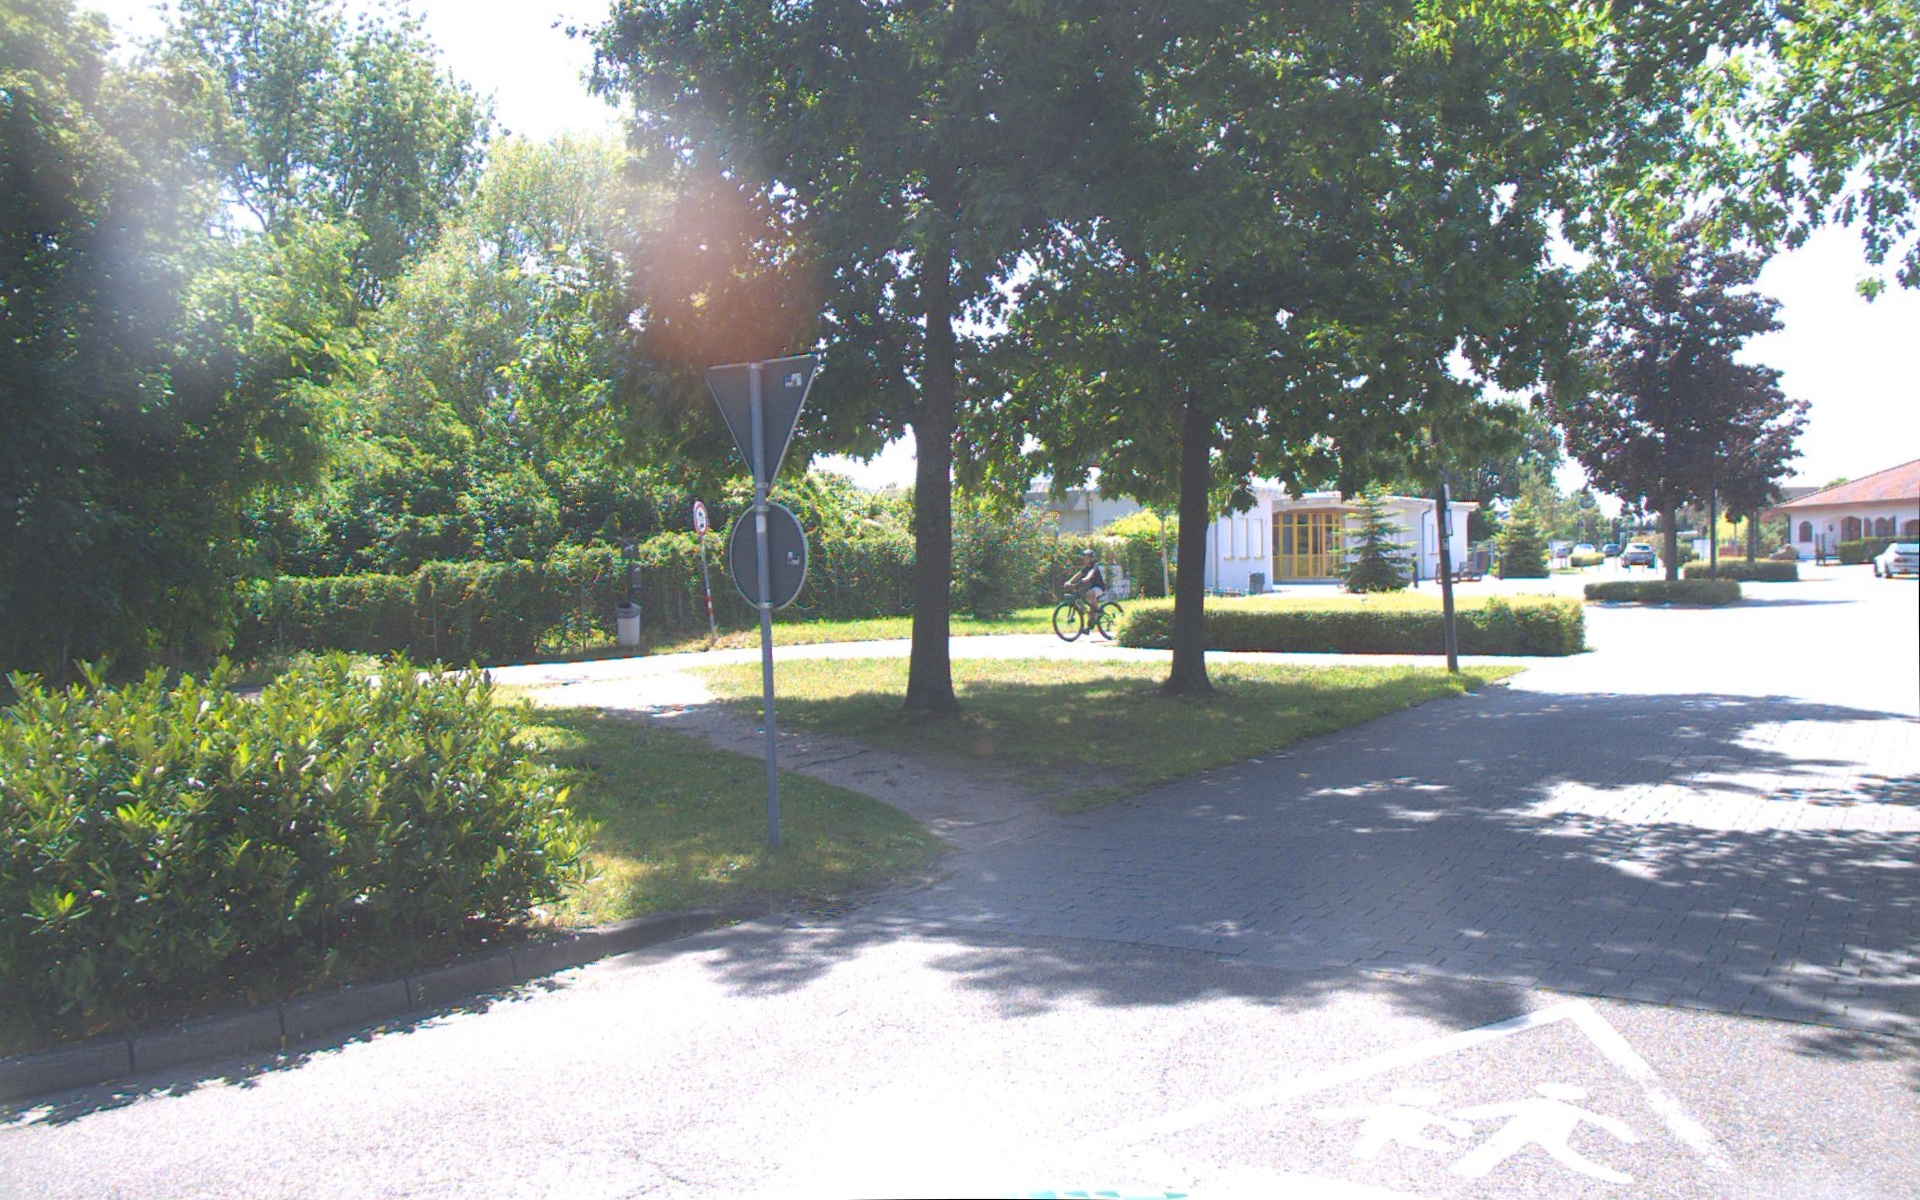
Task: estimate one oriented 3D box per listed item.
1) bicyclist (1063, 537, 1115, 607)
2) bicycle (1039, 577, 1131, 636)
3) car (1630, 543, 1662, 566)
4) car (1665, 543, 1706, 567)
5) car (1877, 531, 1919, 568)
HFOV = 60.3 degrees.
[{"bbox_3d":[2.226,-0.485,28.612,0.642,1.184,0.590,-2,1,-39],"label":"bicyclist"},{"bbox_3d":[2.160,0.102,28.554,1.605,0.945,0.590,-3,1,-39],"label":"bicycle"},{"bbox_3d":[40.465,-2.698,97.611,1.581,1.310,3.558,-1,1,20],"label":"car"},{"bbox_3d":[42.181,-2.646,96.248,1.952,1.310,4.001,-1,1,20],"label":"car"},{"bbox_3d":[34.740,-1.860,60.477,1.581,1.310,3.557,-1,1,21],"label":"car"}]
